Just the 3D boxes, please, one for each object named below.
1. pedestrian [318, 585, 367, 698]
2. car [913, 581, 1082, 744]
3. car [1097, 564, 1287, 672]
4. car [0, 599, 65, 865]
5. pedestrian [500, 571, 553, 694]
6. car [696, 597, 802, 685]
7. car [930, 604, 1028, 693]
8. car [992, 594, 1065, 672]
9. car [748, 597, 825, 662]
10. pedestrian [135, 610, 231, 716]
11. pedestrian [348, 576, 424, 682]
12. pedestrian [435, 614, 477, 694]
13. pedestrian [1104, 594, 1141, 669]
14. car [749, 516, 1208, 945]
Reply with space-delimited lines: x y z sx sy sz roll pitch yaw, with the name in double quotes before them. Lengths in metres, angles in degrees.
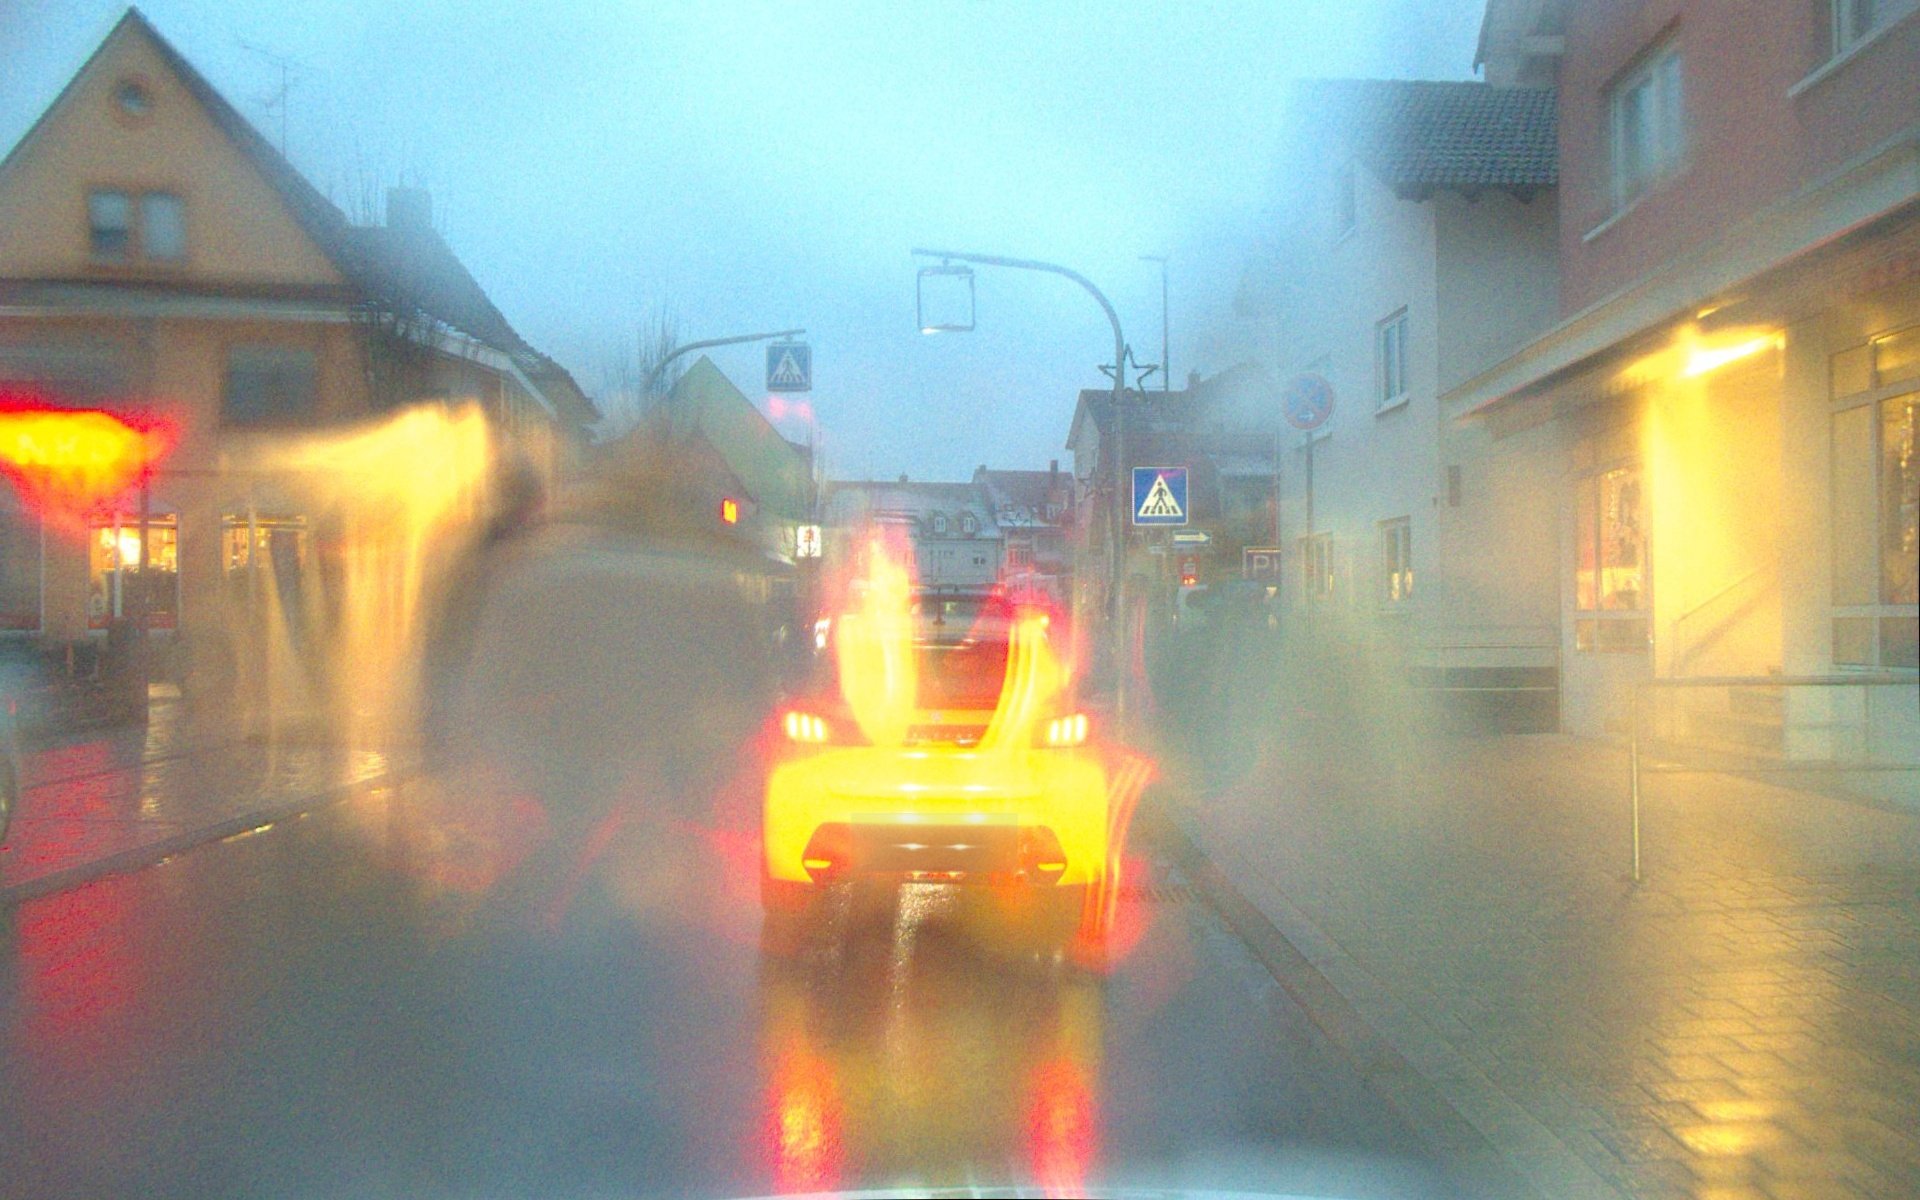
"pedestrian" -9.838 0.651 26.363 0.576 1.773 0.683 0 -1 -7
"car" 0.418 0.678 19.409 1.761 1.691 4.000 1 -1 1
"car" 4.613 0.361 33.184 3.620 2.049 1.690 1 -1 2
"car" -6.371 0.744 8.248 1.636 1.543 3.999 2 0 -1
"pedestrian" -6.836 0.509 26.085 0.689 1.909 0.616 1 0 -6
"car" -5.128 0.968 40.685 1.952 2.049 4.362 0 0 1
"car" 0.408 0.904 32.629 1.789 1.629 4.582 0 0 1
"car" 1.884 0.886 46.438 1.609 2.049 3.997 -2 0 -3
"car" -4.952 0.815 47.739 1.954 1.783 4.359 0 0 -3
"pedestrian" -11.415 0.923 24.325 0.872 1.442 0.776 6 -1 4
"pedestrian" -9.793 0.483 28.248 0.954 1.773 0.961 1 0 -3
"pedestrian" -8.048 0.858 26.428 0.542 1.254 0.433 0 -1 -5
"pedestrian" 4.485 0.870 45.859 0.995 2.049 1.276 0 -1 4
"car" 0.160 0.541 9.393 1.952 1.827 4.649 0 0 2
